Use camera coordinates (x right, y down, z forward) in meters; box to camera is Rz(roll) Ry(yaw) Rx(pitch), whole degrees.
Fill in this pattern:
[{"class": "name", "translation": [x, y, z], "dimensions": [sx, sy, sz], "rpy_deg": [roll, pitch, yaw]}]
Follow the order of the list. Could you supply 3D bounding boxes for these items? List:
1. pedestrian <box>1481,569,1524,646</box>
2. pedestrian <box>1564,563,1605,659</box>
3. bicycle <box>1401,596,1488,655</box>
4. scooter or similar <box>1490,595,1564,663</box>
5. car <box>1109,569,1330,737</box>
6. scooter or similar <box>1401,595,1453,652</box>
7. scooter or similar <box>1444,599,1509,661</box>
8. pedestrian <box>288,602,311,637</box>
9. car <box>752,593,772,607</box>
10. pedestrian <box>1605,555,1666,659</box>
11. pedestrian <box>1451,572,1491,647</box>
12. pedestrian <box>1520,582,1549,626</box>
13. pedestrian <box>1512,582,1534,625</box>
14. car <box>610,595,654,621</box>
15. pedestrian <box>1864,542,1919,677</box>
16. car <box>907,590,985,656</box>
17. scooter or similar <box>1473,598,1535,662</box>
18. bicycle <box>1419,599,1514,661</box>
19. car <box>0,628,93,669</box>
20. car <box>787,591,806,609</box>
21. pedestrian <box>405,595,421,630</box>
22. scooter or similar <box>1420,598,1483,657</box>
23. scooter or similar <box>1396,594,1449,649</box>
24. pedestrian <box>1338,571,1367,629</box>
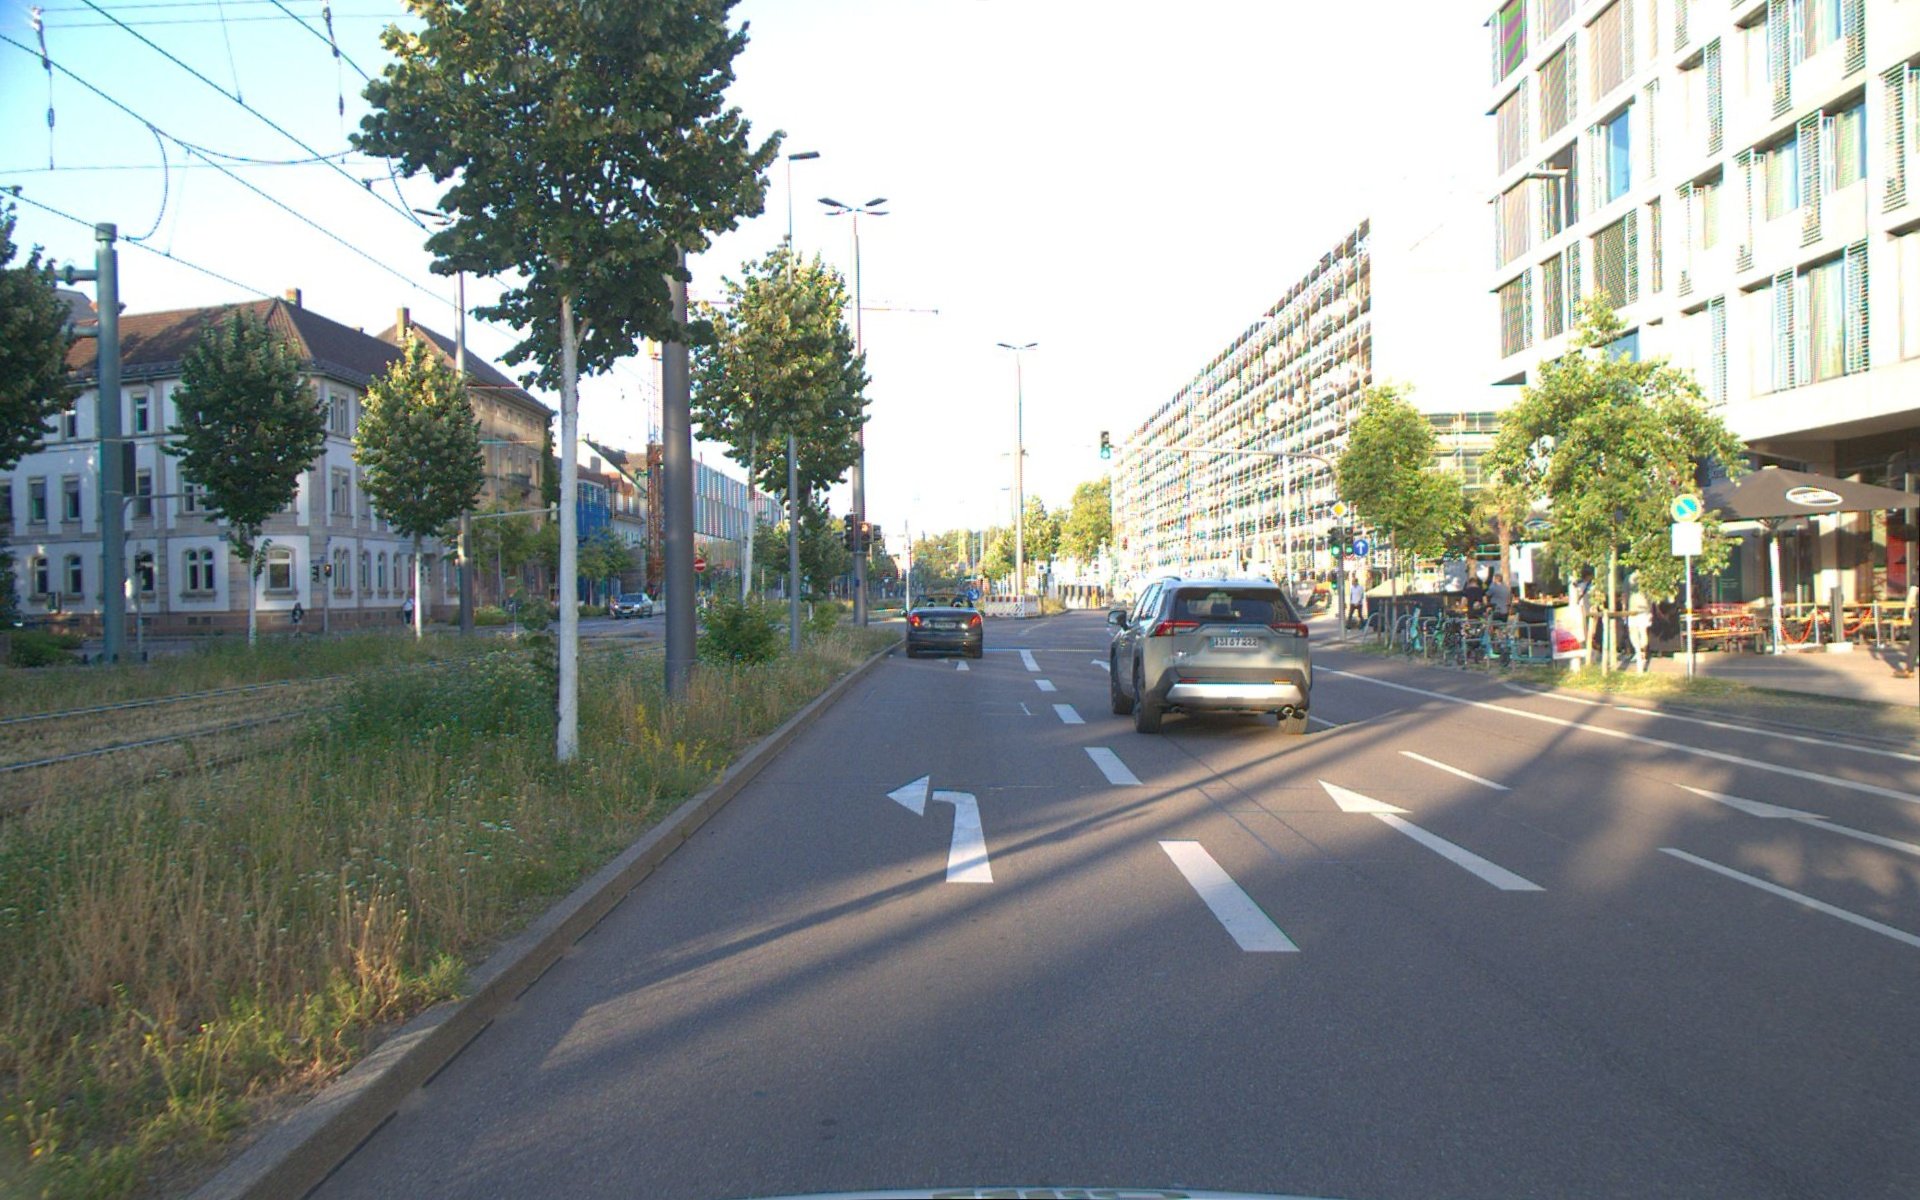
[{"class": "pedestrian", "translation": [12.939, 0.173, 39.441], "dimensions": [0.671, 1.765, 0.761], "rpy_deg": [-3, 0, -1]}, {"class": "pedestrian", "translation": [12.136, 0.220, 32.164], "dimensions": [0.564, 1.817, 0.829], "rpy_deg": [-3, -1, 13]}, {"class": "bicycle", "translation": [10.934, 0.579, 37.345], "dimensions": [1.759, 1.214, 0.567], "rpy_deg": [-3, 0, -5]}, {"class": "scooter or similar", "translation": [10.995, 0.570, 32.077], "dimensions": [1.266, 1.239, 0.535], "rpy_deg": [-4, 0, 24]}, {"class": "car", "translation": [2.825, 0.513, 18.917], "dimensions": [1.796, 1.701, 4.282], "rpy_deg": [0, 1, -1]}, {"class": "scooter or similar", "translation": [10.860, 0.547, 38.497], "dimensions": [1.039, 1.244, 0.550], "rpy_deg": [-3, 0, 9]}, {"class": "scooter or similar", "translation": [10.729, 0.620, 34.385], "dimensions": [1.132, 1.212, 0.510], "rpy_deg": [-3, -1, 1]}, {"class": "pedestrian", "translation": [-28.418, 0.837, 71.188], "dimensions": [0.591, 1.484, 0.936], "rpy_deg": [1, 0, 2]}, {"class": "car", "translation": [-22.164, 0.021, 185.303], "dimensions": [1.623, 1.456, 3.895], "rpy_deg": [1, 1, 1]}, {"class": "pedestrian", "translation": [12.877, 0.143, 31.559], "dimensions": [0.807, 1.921, 0.867], "rpy_deg": [-3, -1, 8]}, {"class": "pedestrian", "translation": [12.140, 0.226, 39.310], "dimensions": [0.640, 1.732, 0.689], "rpy_deg": [-3, 0, -1]}, {"class": "pedestrian", "translation": [18.434, 0.134, 53.090], "dimensions": [0.730, 1.342, 0.715], "rpy_deg": [-4, 0, 12]}, {"class": "pedestrian", "translation": [18.425, 0.122, 54.148], "dimensions": [0.600, 1.342, 0.621], "rpy_deg": [-4, 0, 18]}, {"class": "car", "translation": [-21.645, 0.506, 109.297], "dimensions": [1.953, 1.607, 4.124], "rpy_deg": [-2, 1, 1]}, {"class": "pedestrian", "translation": [13.666, 0.119, 23.846], "dimensions": [0.728, 1.881, 0.941], "rpy_deg": [-4, 0, 9]}, {"class": "car", "translation": [-0.301, 0.483, 37.076], "dimensions": [1.640, 1.375, 4.000], "rpy_deg": [0, 1, 0]}, {"class": "scooter or similar", "translation": [11.039, 0.610, 33.600], "dimensions": [1.104, 1.235, 0.532], "rpy_deg": [-3, -1, 15]}, {"class": "bicycle", "translation": [10.873, 0.636, 35.554], "dimensions": [1.809, 1.202, 0.608], "rpy_deg": [-3, 0, -1]}, {"class": "car", "translation": [-39.291, 2.074, 71.046], "dimensions": [3.912, 1.583, 1.787], "rpy_deg": [1, 1, 30]}, {"class": "car", "translation": [-18.324, -0.002, 185.374], "dimensions": [1.623, 1.998, 4.267], "rpy_deg": [1, 1, 1]}, {"class": "pedestrian", "translation": [-28.301, 0.647, 85.509], "dimensions": [0.693, 1.745, 0.807], "rpy_deg": [1, 0, -23]}, {"class": "scooter or similar", "translation": [10.930, 0.603, 36.801], "dimensions": [1.186, 1.222, 0.479], "rpy_deg": [-3, 1, -5]}, {"class": "scooter or similar", "translation": [11.099, 0.503, 39.678], "dimensions": [1.031, 1.244, 0.598], "rpy_deg": [-3, 0, -5]}, {"class": "pedestrian", "translation": [13.070, 0.002, 55.028], "dimensions": [0.752, 1.880, 0.678], "rpy_deg": [-2, 0, 0]}]
